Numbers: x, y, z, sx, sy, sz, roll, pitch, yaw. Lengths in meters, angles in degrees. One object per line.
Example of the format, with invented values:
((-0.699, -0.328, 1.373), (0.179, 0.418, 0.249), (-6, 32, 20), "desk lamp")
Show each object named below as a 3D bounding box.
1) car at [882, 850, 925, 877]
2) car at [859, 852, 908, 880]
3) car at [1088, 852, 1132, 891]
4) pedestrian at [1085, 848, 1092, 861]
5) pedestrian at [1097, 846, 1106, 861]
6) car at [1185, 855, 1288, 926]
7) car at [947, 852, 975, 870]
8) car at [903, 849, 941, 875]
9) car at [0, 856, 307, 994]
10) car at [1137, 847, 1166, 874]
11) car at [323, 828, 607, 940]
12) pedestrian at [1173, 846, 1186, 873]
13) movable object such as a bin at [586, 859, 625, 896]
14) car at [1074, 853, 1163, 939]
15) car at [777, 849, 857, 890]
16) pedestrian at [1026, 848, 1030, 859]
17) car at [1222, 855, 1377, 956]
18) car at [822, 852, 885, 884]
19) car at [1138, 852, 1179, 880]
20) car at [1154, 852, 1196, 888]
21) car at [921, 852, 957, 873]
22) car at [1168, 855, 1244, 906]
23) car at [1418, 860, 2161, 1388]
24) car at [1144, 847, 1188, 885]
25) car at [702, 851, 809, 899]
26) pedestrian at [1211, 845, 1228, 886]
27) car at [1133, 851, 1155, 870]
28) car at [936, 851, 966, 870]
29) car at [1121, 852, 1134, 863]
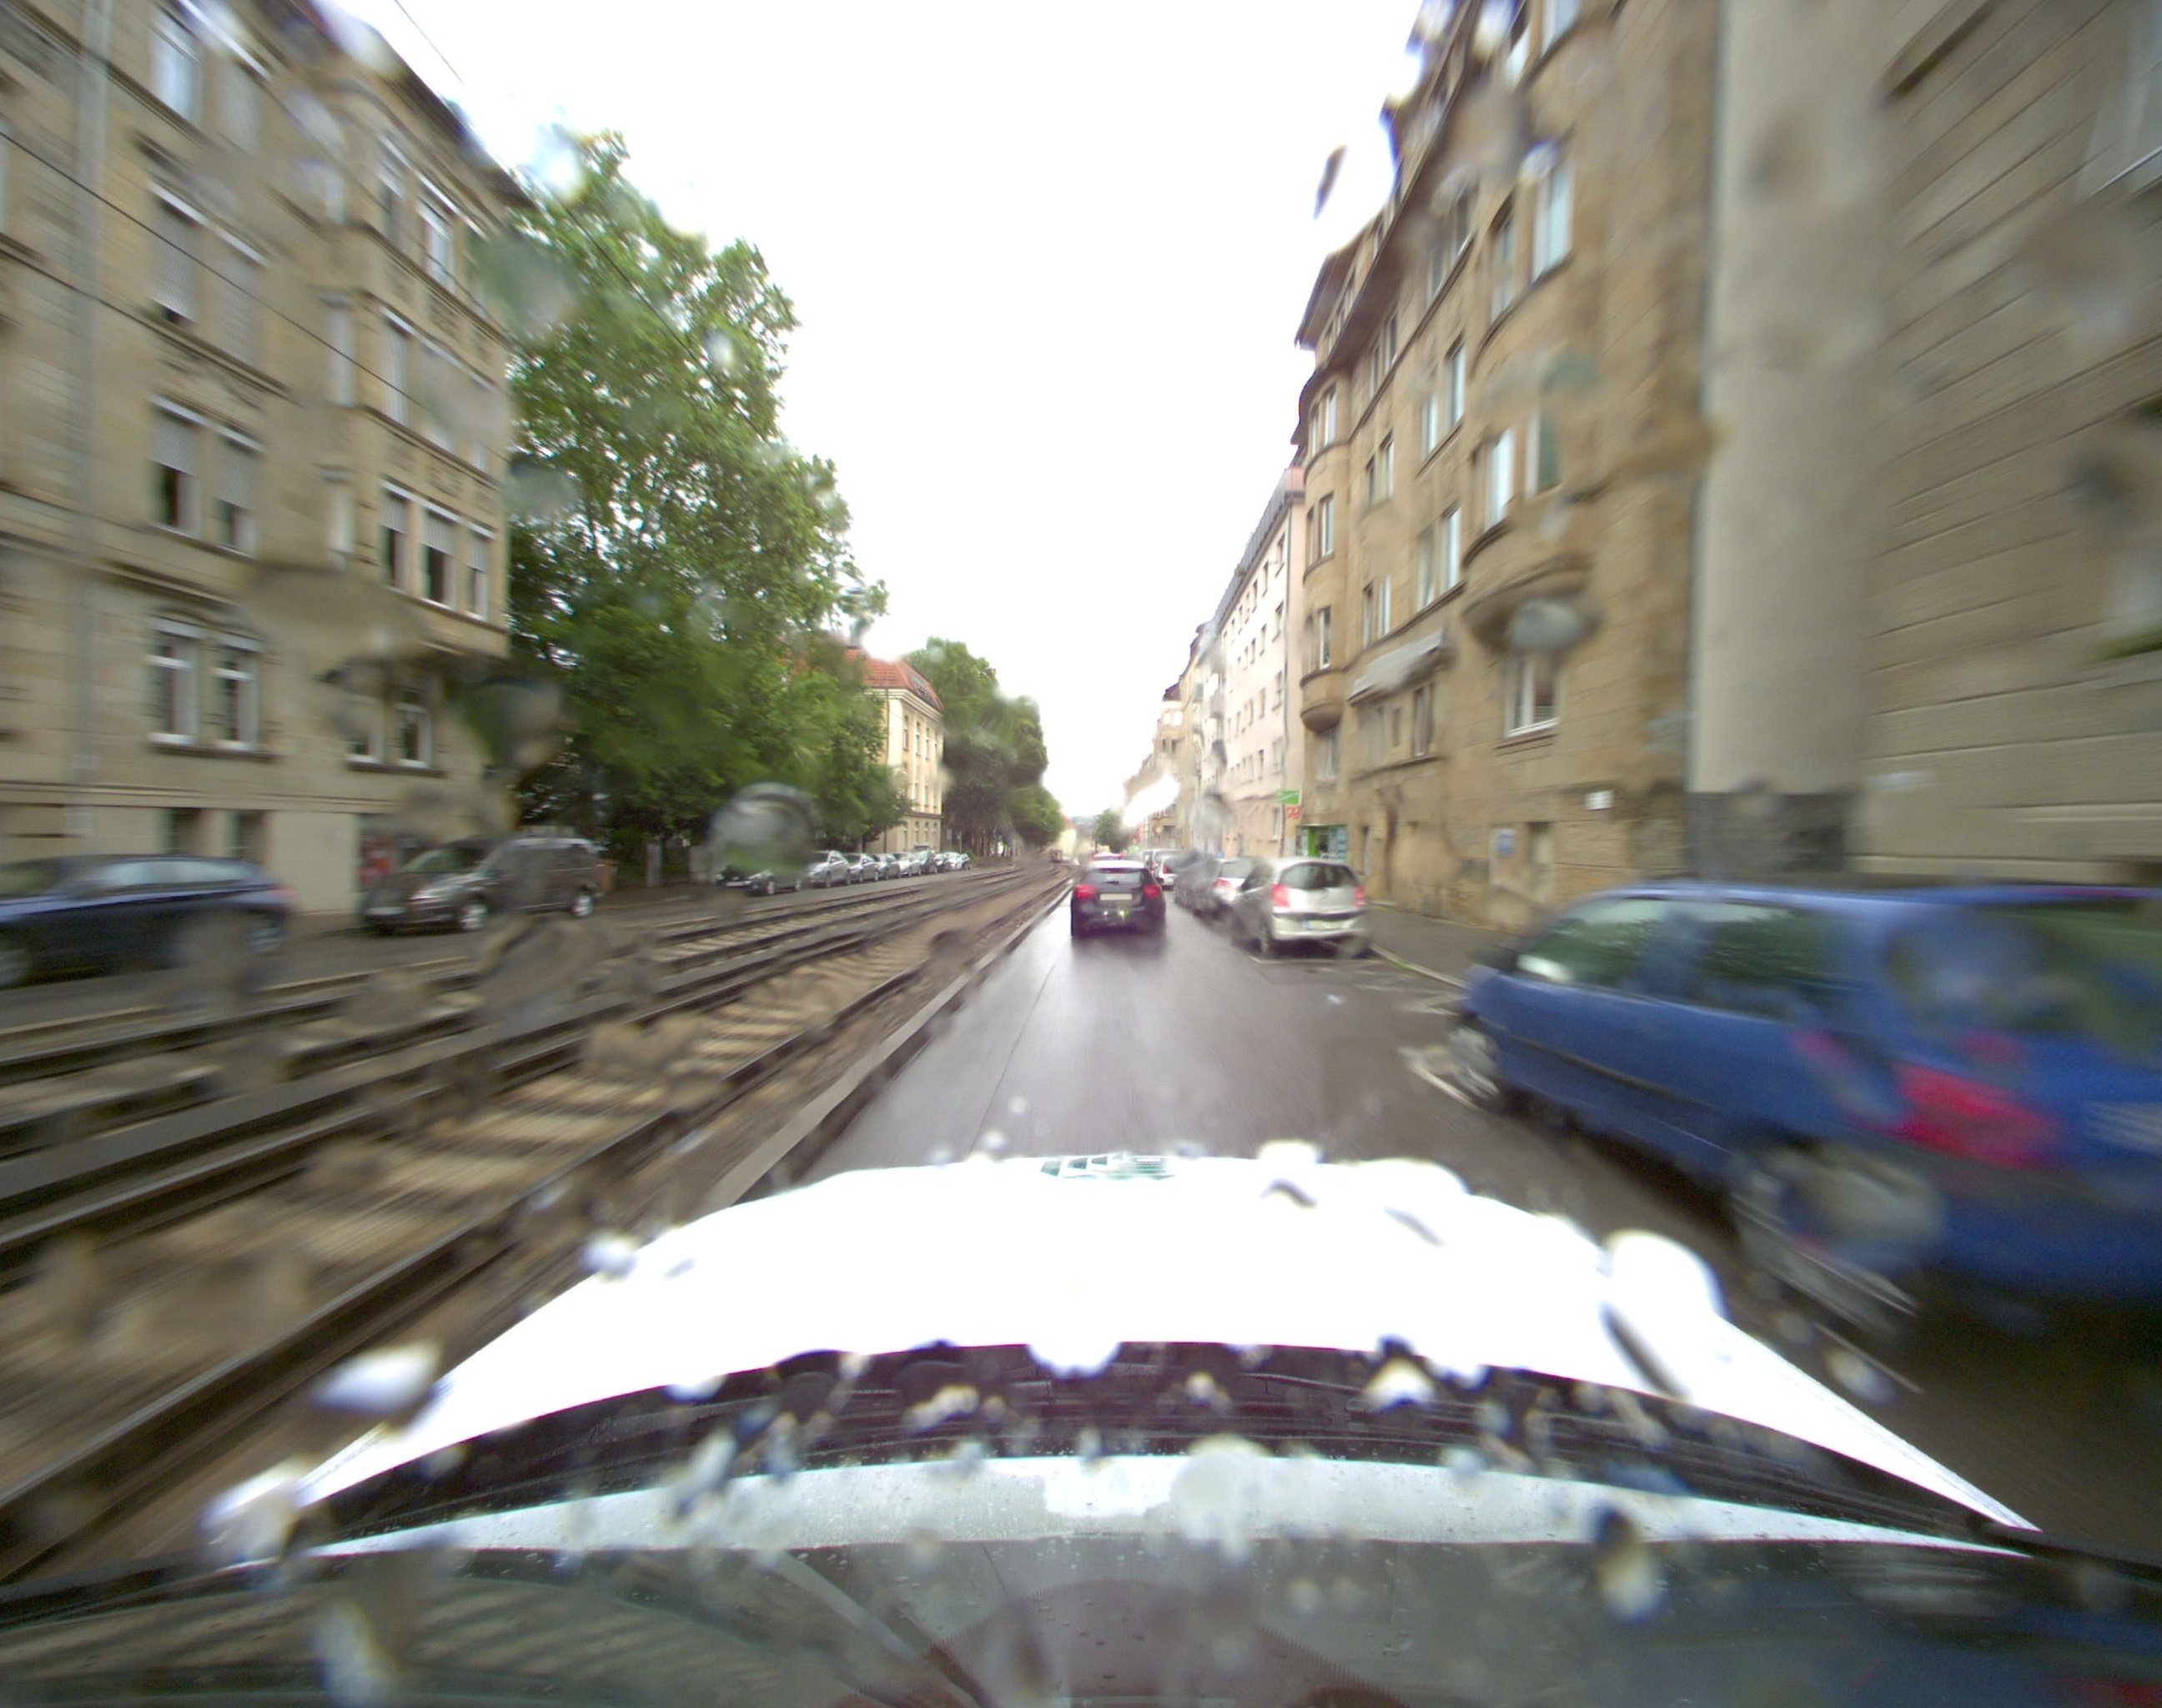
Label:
((-10.583, 0.542, 48.853), (1.534, 1.505, 4.155), (-2, 0, 1), "car")
((-10.611, 0.621, 43.943), (1.534, 1.413, 3.954), (-2, 0, 1), "car")
((1.248, 0.715, 34.899), (1.778, 1.581, 4.002), (0, 0, 2), "car")
((0.984, 0.069, 105.497), (0.803, 1.633, 0.893), (-2, 0, 2), "pedestrian")
((2.769, -0.122, 110.013), (1.135, 1.998, 1.171), (-2, 0, -2), "pedestrian")
((3.482, 0.764, 18.908), (1.662, 1.434, 3.956), (-1, 0, 1), "car")
((-10.096, 0.588, 68.672), (1.608, 1.429, 3.854), (-1, 1, 2), "car")
((-10.531, 0.511, 54.163), (1.571, 1.643, 4.072), (-2, 0, 1), "car")
((-11.984, 0.753, 9.502), (1.756, 1.398, 4.270), (-1, 0, 1), "car")
((4.699, 0.424, 54.486), (1.820, 1.750, 4.471), (0, 0, 3), "car")
((-11.766, 0.498, 16.098), (1.794, 1.846, 4.820), (-1, 0, 2), "car")
((7.018, 0.390, 58.095), (0.743, 1.833, 1.039), (-2, 0, 3), "pedestrian")
((-14.736, 0.724, 25.245), (0.713, 1.120, 0.774), (1, 0, 4), "movable object such as a bin")
((0.706, 0.743, 16.108), (1.574, 1.505, 3.575), (0, 0, 1), "car")
((-10.981, 0.609, 34.236), (1.748, 1.536, 4.544), (-2, 0, 1), "car")
((-8.232, -0.124, 126.838), (0.532, 1.754, 0.607), (2, 0, 2), "pedestrian")
((3.463, 0.741, 13.561), (1.585, 1.434, 3.683), (-1, 0, 0), "car")
((-10.898, 0.631, 39.271), (1.748, 1.413, 4.154), (-2, 0, 1), "car")
((4.216, 0.626, 44.981), (1.865, 1.455, 4.903), (0, 0, 1), "car")
((4.041, 0.648, 35.521), (1.564, 1.462, 3.601), (-1, 0, 2), "car")
((-10.297, 0.609, 59.264), (1.668, 1.413, 4.013), (-2, 0, 3), "car")
((3.707, 0.739, 24.854), (1.664, 1.410, 4.312), (-1, 0, 0), "car")
((3.112, 0.758, 3.974), (1.538, 1.415, 3.446), (0, 0, 0), "car")
((4.102, 0.545, 39.911), (1.784, 1.765, 4.213), (-1, 0, 1), "car")
((-11.241, 0.673, 28.501), (1.843, 1.464, 4.550), (-2, 0, 0), "car")
((6.153, 0.506, 36.107), (0.605, 1.763, 0.689), (-2, 0, 1), "pedestrian")
((5.248, 0.518, 67.884), (1.687, 1.529, 4.002), (0, 0, 2), "car")
((-10.137, 0.480, 63.739), (1.494, 1.391, 3.990), (-2, 0, 3), "car")
((6.899, 0.471, 121.882), (1.820, 1.618, 3.866), (-2, 0, 2), "car")
